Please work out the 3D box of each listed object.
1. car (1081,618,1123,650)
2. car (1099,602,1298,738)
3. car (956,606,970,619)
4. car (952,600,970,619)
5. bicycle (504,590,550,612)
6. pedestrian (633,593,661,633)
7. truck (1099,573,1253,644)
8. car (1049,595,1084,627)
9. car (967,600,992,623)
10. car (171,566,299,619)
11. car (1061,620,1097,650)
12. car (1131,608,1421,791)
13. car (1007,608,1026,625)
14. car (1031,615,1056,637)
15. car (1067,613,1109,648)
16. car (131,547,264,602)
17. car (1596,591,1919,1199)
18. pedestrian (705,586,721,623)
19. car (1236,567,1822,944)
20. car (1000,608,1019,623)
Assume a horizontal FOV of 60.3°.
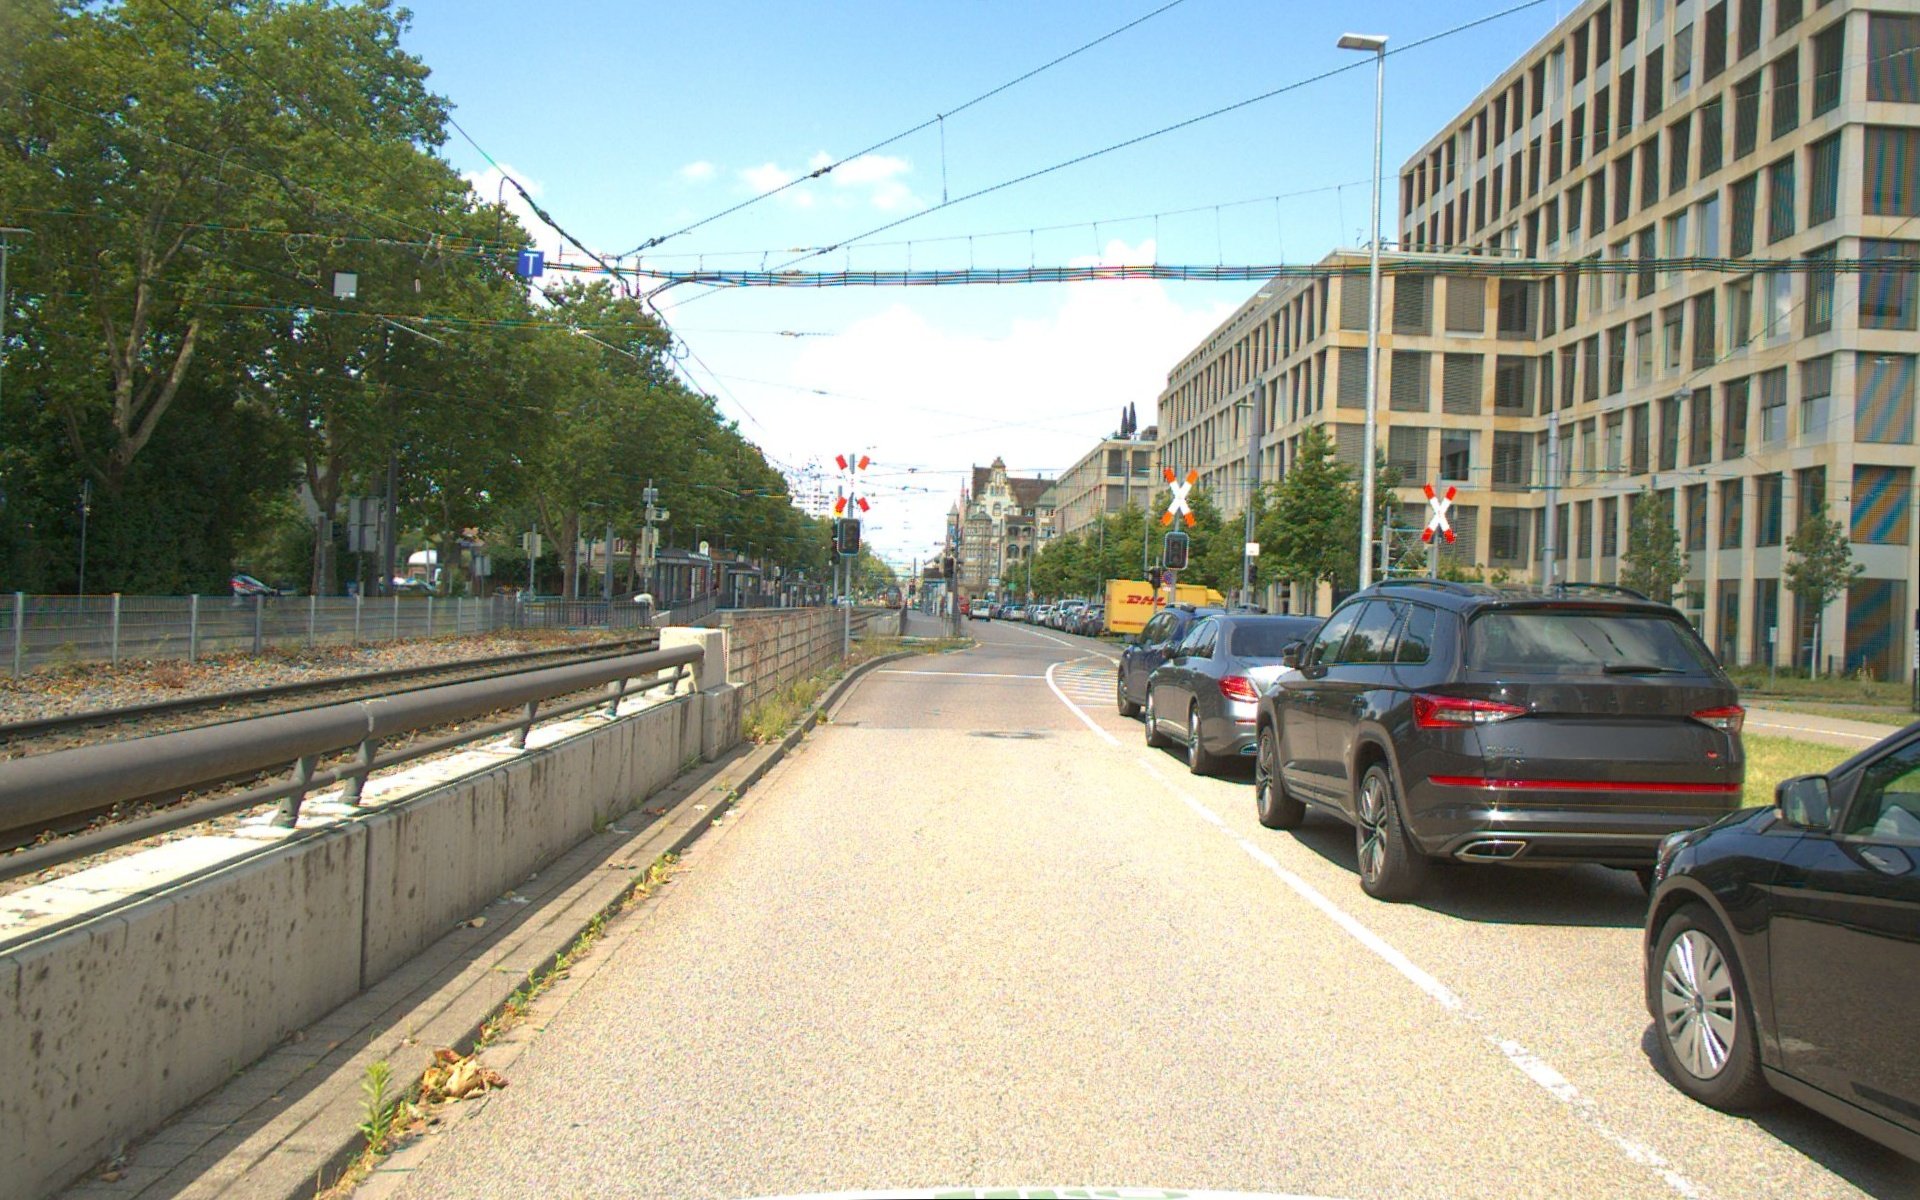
[{"bbox_3d":[7.345,1.724,85.948,1.657,1.531,4.066,3,-1,-2],"label":"car"},{"bbox_3d":[3.029,0.846,21.914,1.744,1.567,4.418,2,0,-3],"label":"car"},{"bbox_3d":[0.368,1.409,191.773,1.414,1.496,4.089,1,0,-3],"label":"car"},{"bbox_3d":[0.069,1.109,191.607,1.953,2.049,3.999,1,-1,-1],"label":"car"},{"bbox_3d":[-30.305,0.081,115.706,2.976,1.187,0.634,6,-1,3],"label":"bicycle"},{"bbox_3d":[-10.962,0.470,57.922,0.845,1.367,0.922,1,-1,-5],"label":"pedestrian"},{"bbox_3d":[10.003,0.412,76.863,6.672,2.917,2.452,3,-1,-4],"label":"truck"},{"bbox_3d":[6.931,0.725,108.087,1.844,1.973,4.841,2,-1,-2],"label":"car"},{"bbox_3d":[1.633,1.002,142.139,1.831,1.777,3.998,4,-1,-2],"label":"car"},{"bbox_3d":[-27.132,-0.273,61.989,3.909,1.780,1.802,2,0,-5],"label":"car"},{"bbox_3d":[6.921,2.036,96.484,1.686,1.648,3.858,3,-1,-2],"label":"car"},{"bbox_3d":[2.942,0.853,16.506,1.780,1.479,4.988,2,0,-2],"label":"car"},{"bbox_3d":[5.530,1.589,161.702,1.559,1.485,3.612,4,0,0],"label":"car"},{"bbox_3d":[6.486,2.027,128.827,1.651,1.634,4.150,2,-1,-2],"label":"car"},{"bbox_3d":[7.059,1.672,91.394,1.733,1.798,4.838,3,-1,-2],"label":"car"},{"bbox_3d":[-27.537,-0.908,59.851,3.909,1.780,1.802,2,0,-5],"label":"car"},{"bbox_3d":[3.116,0.776,3.750,1.611,1.557,4.441,2,-1,0],"label":"car"},{"bbox_3d":[-12.797,0.252,85.649,0.692,1.877,0.864,1,-1,-3],"label":"pedestrian"},{"bbox_3d":[3.020,0.721,9.959,1.780,1.691,4.669,2,0,-2],"label":"car"},{"bbox_3d":[5.148,1.588,172.859,1.560,1.459,4.104,5,-1,-3],"label":"car"}]
